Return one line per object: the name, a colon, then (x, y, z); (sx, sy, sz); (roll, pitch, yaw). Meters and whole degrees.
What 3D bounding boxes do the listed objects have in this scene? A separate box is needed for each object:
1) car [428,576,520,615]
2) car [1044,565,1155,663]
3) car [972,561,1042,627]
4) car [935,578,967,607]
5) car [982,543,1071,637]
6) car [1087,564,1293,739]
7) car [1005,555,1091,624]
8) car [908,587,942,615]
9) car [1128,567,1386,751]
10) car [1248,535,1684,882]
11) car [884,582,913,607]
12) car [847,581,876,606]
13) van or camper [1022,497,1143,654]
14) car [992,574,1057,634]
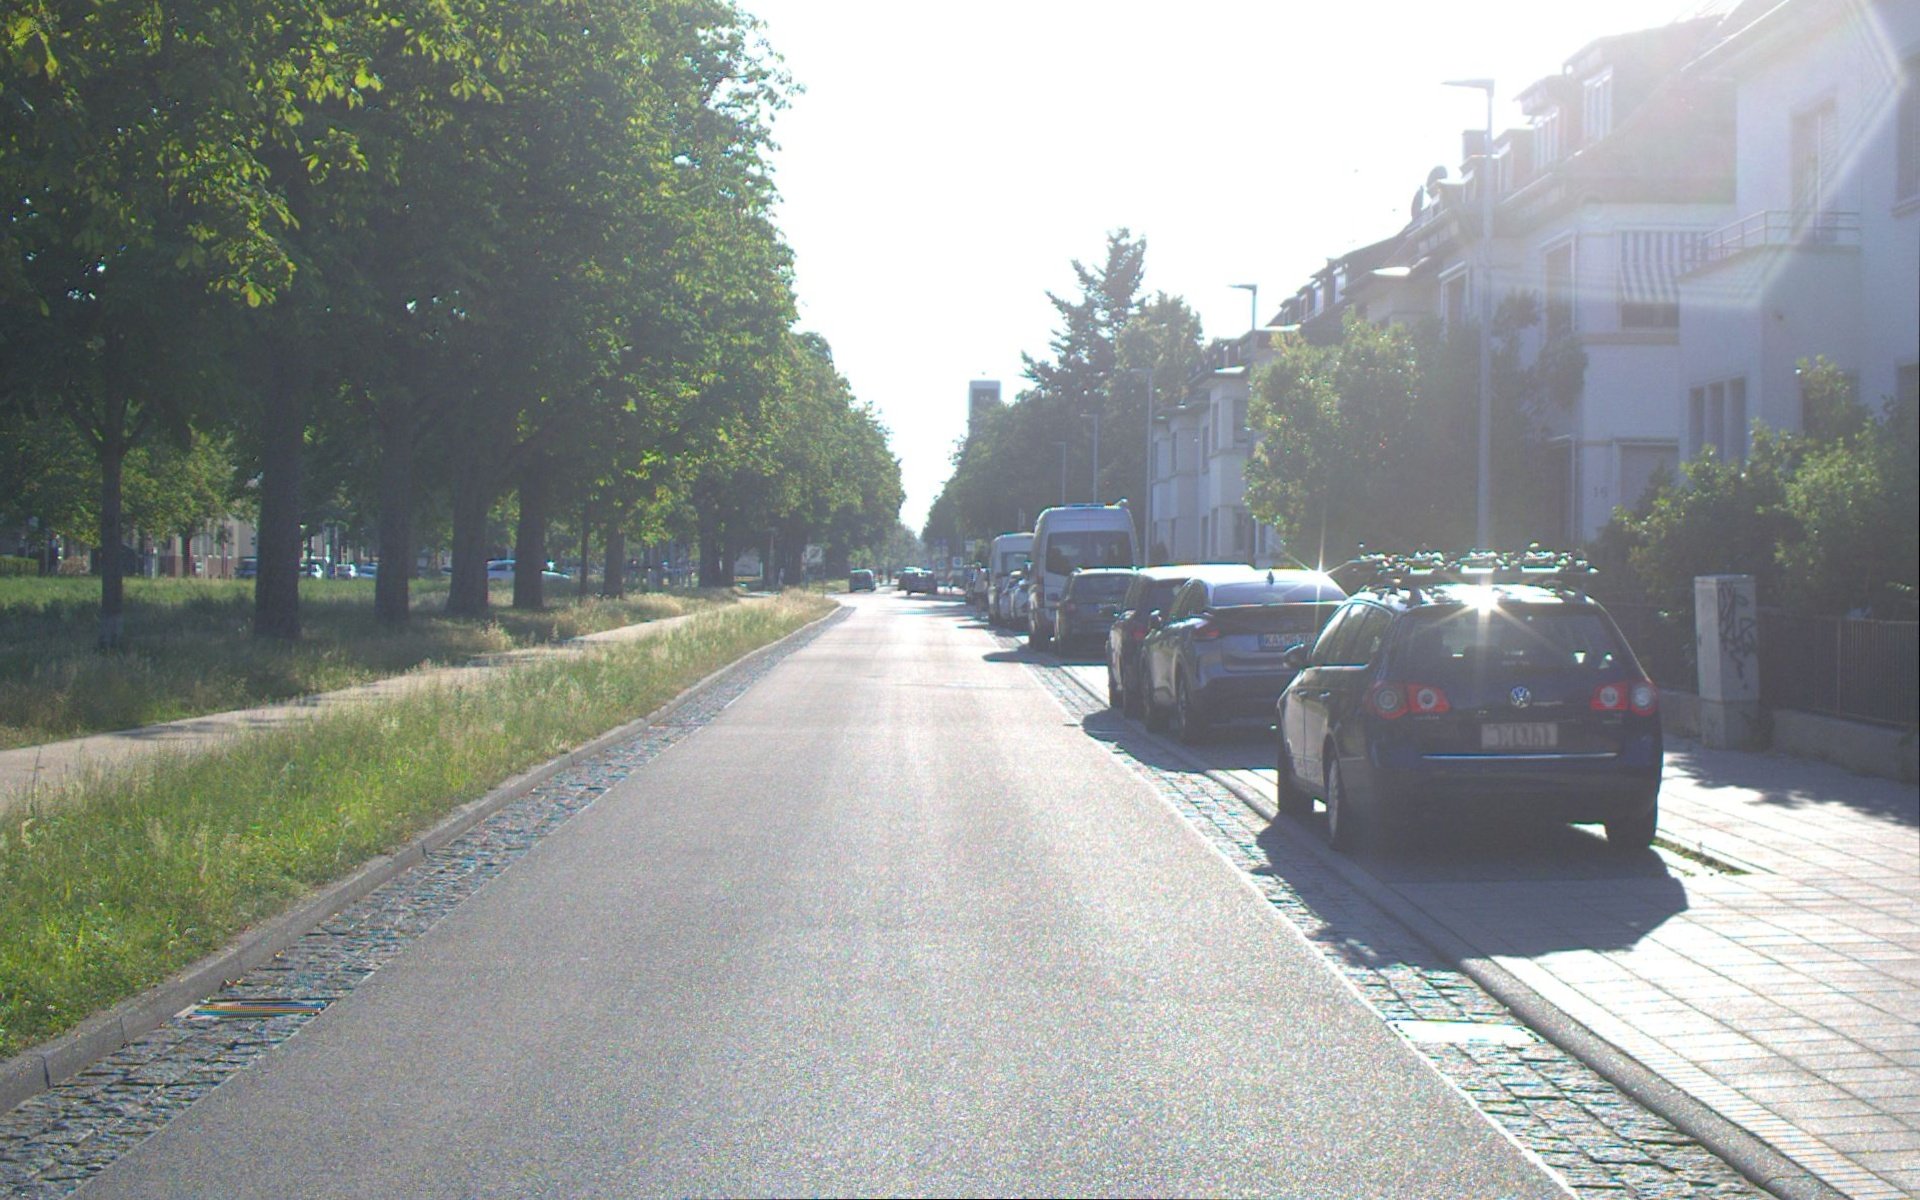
car: (-23.739, -0.212, 167.845); (4.345, 1.758, 2.000); (2, 0, -9)
car: (2.351, 0.222, 58.600); (1.663, 1.587, 4.086); (-1, 0, 0)
car: (1.475, -0.207, 109.621); (2.126, 2.060, 5.189); (0, 0, -1)
car: (-0.492, -0.414, 182.918); (1.650, 1.525, 3.851); (0, 0, 1)
car: (1.817, -0.299, 95.340); (2.126, 2.524, 5.189); (0, 0, -3)
car: (2.438, 0.503, 37.421); (1.832, 1.679, 4.415); (3, 1, -1)
car: (2.122, -0.265, 83.658); (1.837, 1.630, 4.132); (0, 0, -2)
car: (-2.044, 0.054, 201.378); (1.863, 1.591, 3.894); (2, 0, -1)
car: (2.666, 0.512, 31.751); (1.717, 1.568, 4.211); (1, 0, -4)
car: (2.813, 0.542, 20.068); (1.794, 1.765, 4.473); (-1, 1, -1)
car: (-4.167, -0.352, 231.854); (1.863, 1.591, 3.870); (2, 0, -1)
car: (-6.566, -0.399, 229.202); (1.863, 1.591, 3.870); (2, 0, -1)
van or camper: (2.271, -0.415, 65.107); (1.943, 2.768, 5.939); (2, 0, 0)
car: (1.654, 0.087, 89.049); (1.650, 1.525, 3.851); (0, 0, 1)
